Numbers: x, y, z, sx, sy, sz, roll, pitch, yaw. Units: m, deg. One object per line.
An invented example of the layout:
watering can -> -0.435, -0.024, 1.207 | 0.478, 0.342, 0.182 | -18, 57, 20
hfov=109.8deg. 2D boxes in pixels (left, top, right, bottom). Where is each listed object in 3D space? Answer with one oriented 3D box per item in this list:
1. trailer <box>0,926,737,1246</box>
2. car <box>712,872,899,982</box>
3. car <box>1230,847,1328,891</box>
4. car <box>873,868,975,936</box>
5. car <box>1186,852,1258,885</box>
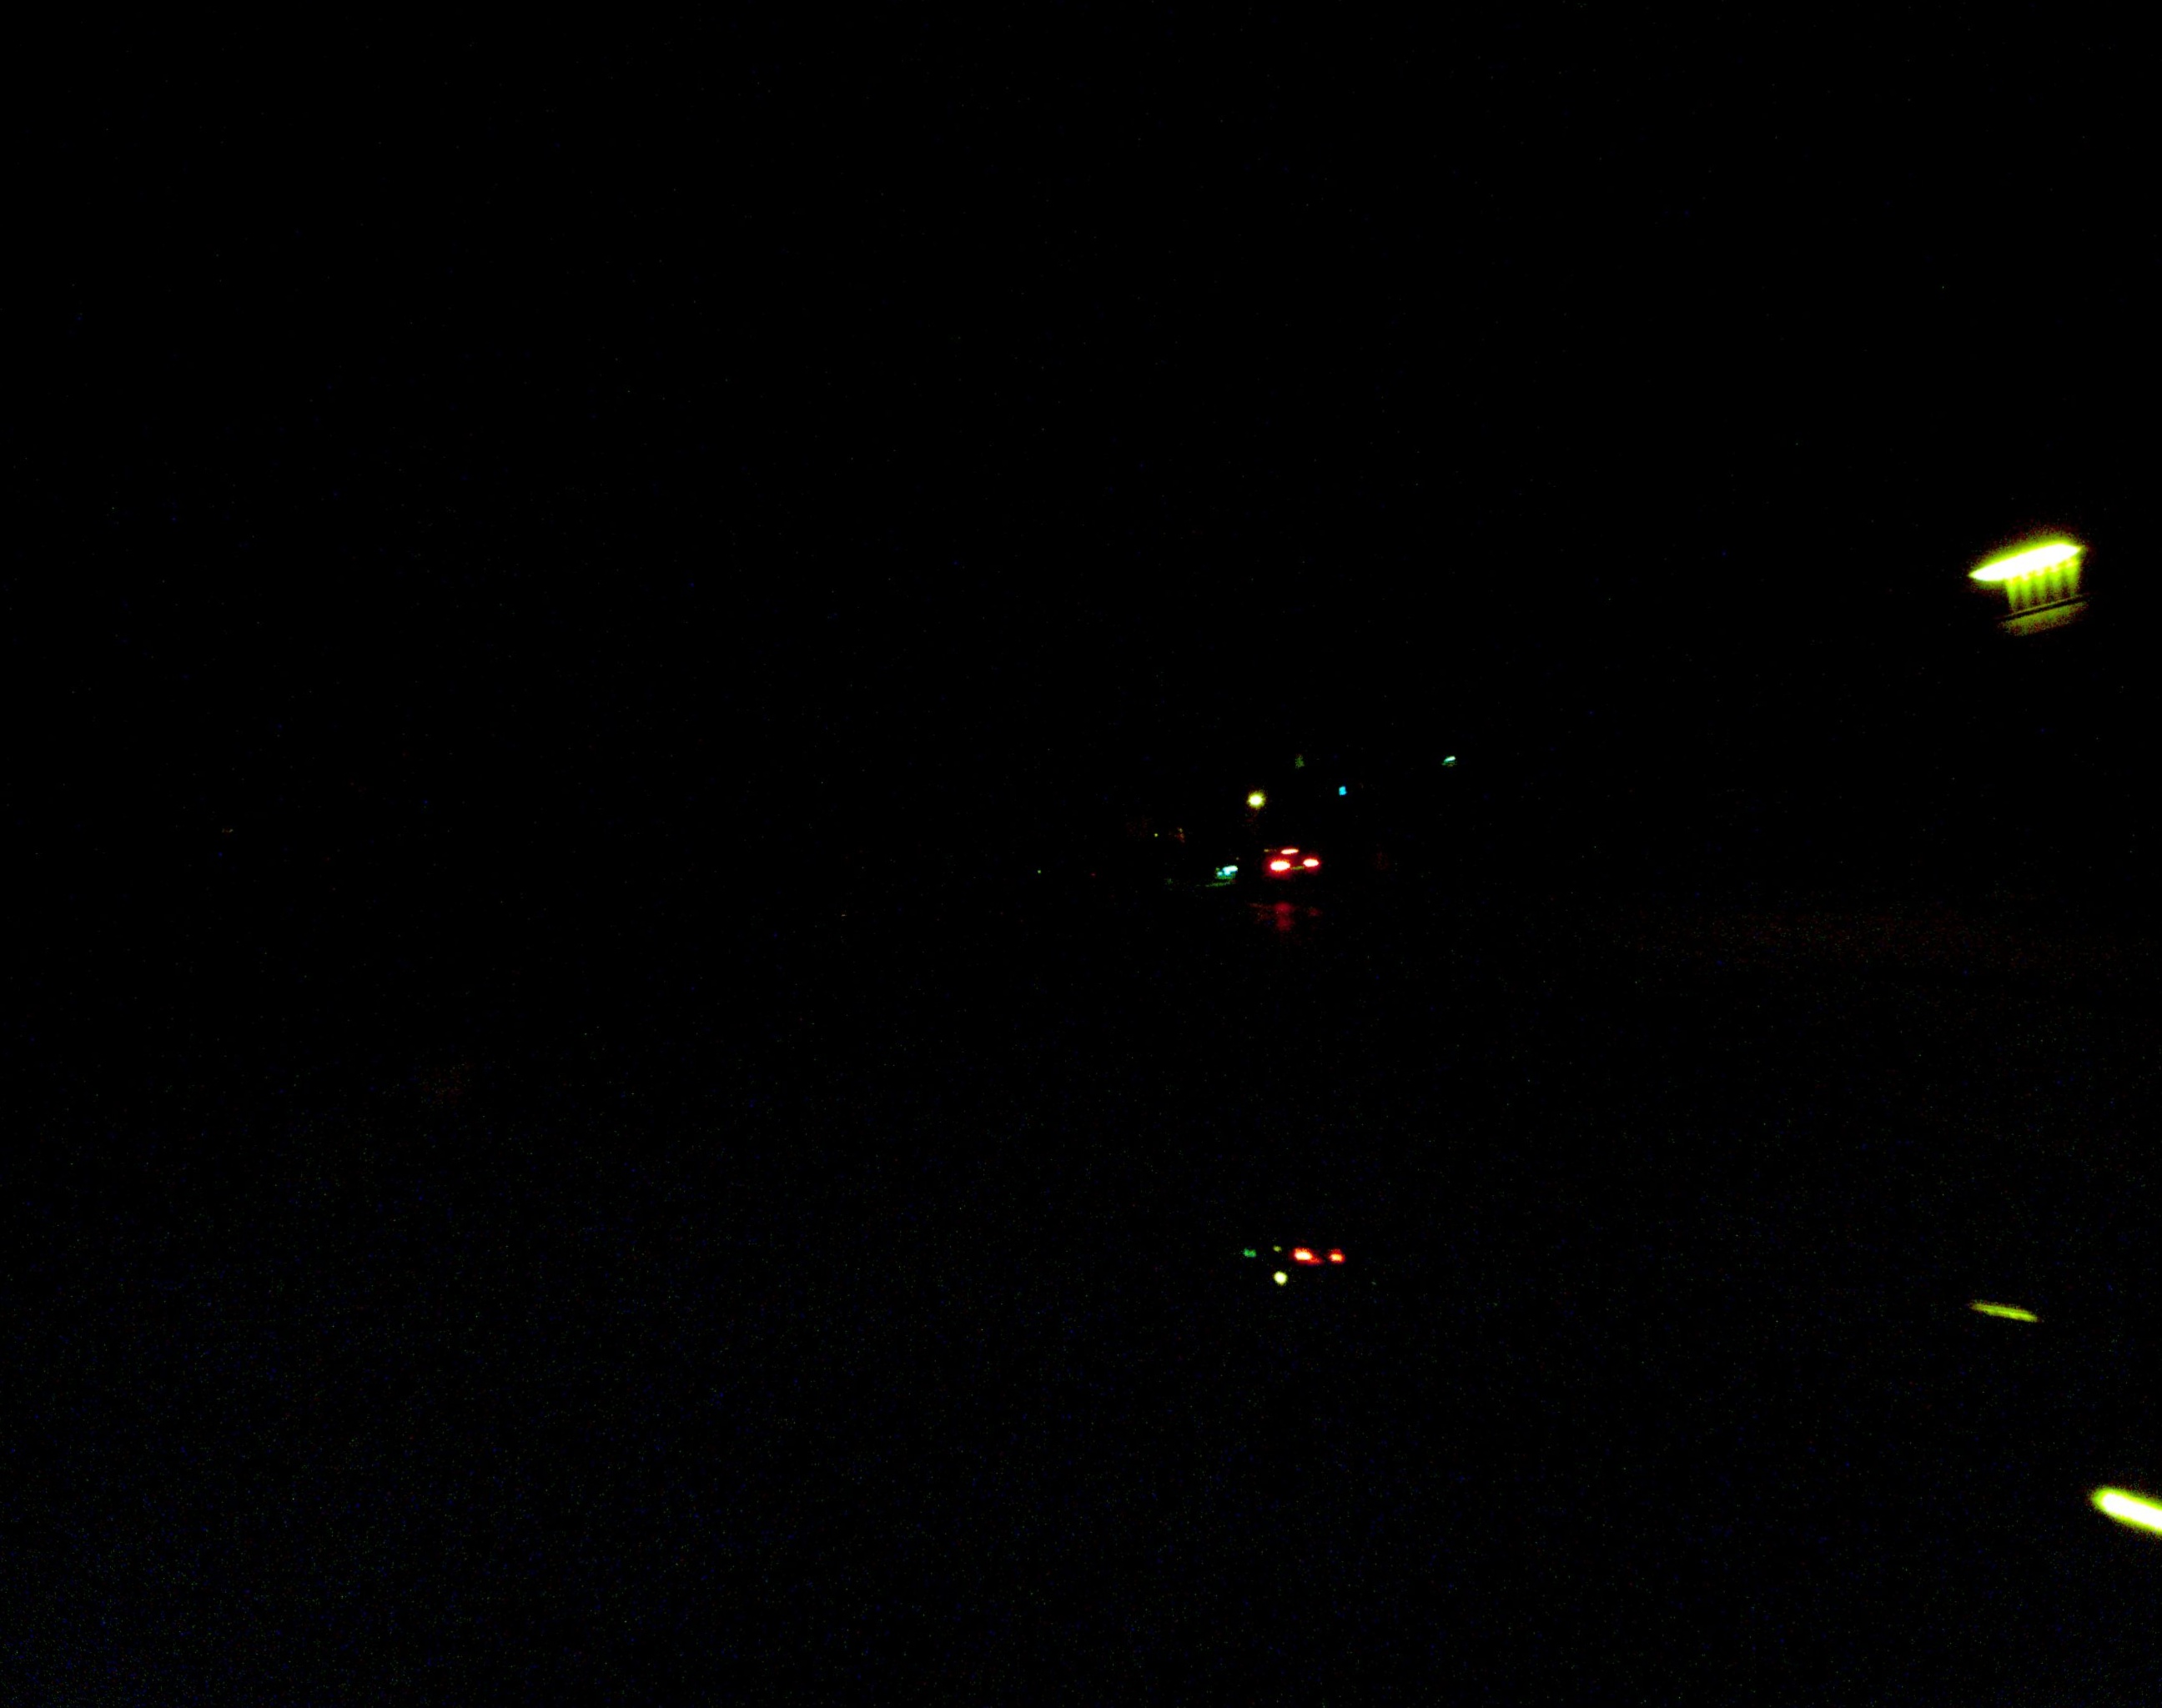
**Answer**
trailer -> -6.430, 1.610, 6.426 | 2.178, 0.961, 9.618 | -5, -1, 3
car -> -4.875, 1.209, 14.111 | 1.939, 1.543, 4.000 | -4, 0, -1
car -> 7.491, 0.560, 29.332 | 1.854, 1.436, 4.913 | -4, 0, -8
car -> -4.226, 1.236, 21.129 | 1.999, 1.542, 4.326 | -4, -1, -3
car -> 6.740, 0.705, 36.854 | 2.000, 1.371, 4.595 | -4, 0, -8
